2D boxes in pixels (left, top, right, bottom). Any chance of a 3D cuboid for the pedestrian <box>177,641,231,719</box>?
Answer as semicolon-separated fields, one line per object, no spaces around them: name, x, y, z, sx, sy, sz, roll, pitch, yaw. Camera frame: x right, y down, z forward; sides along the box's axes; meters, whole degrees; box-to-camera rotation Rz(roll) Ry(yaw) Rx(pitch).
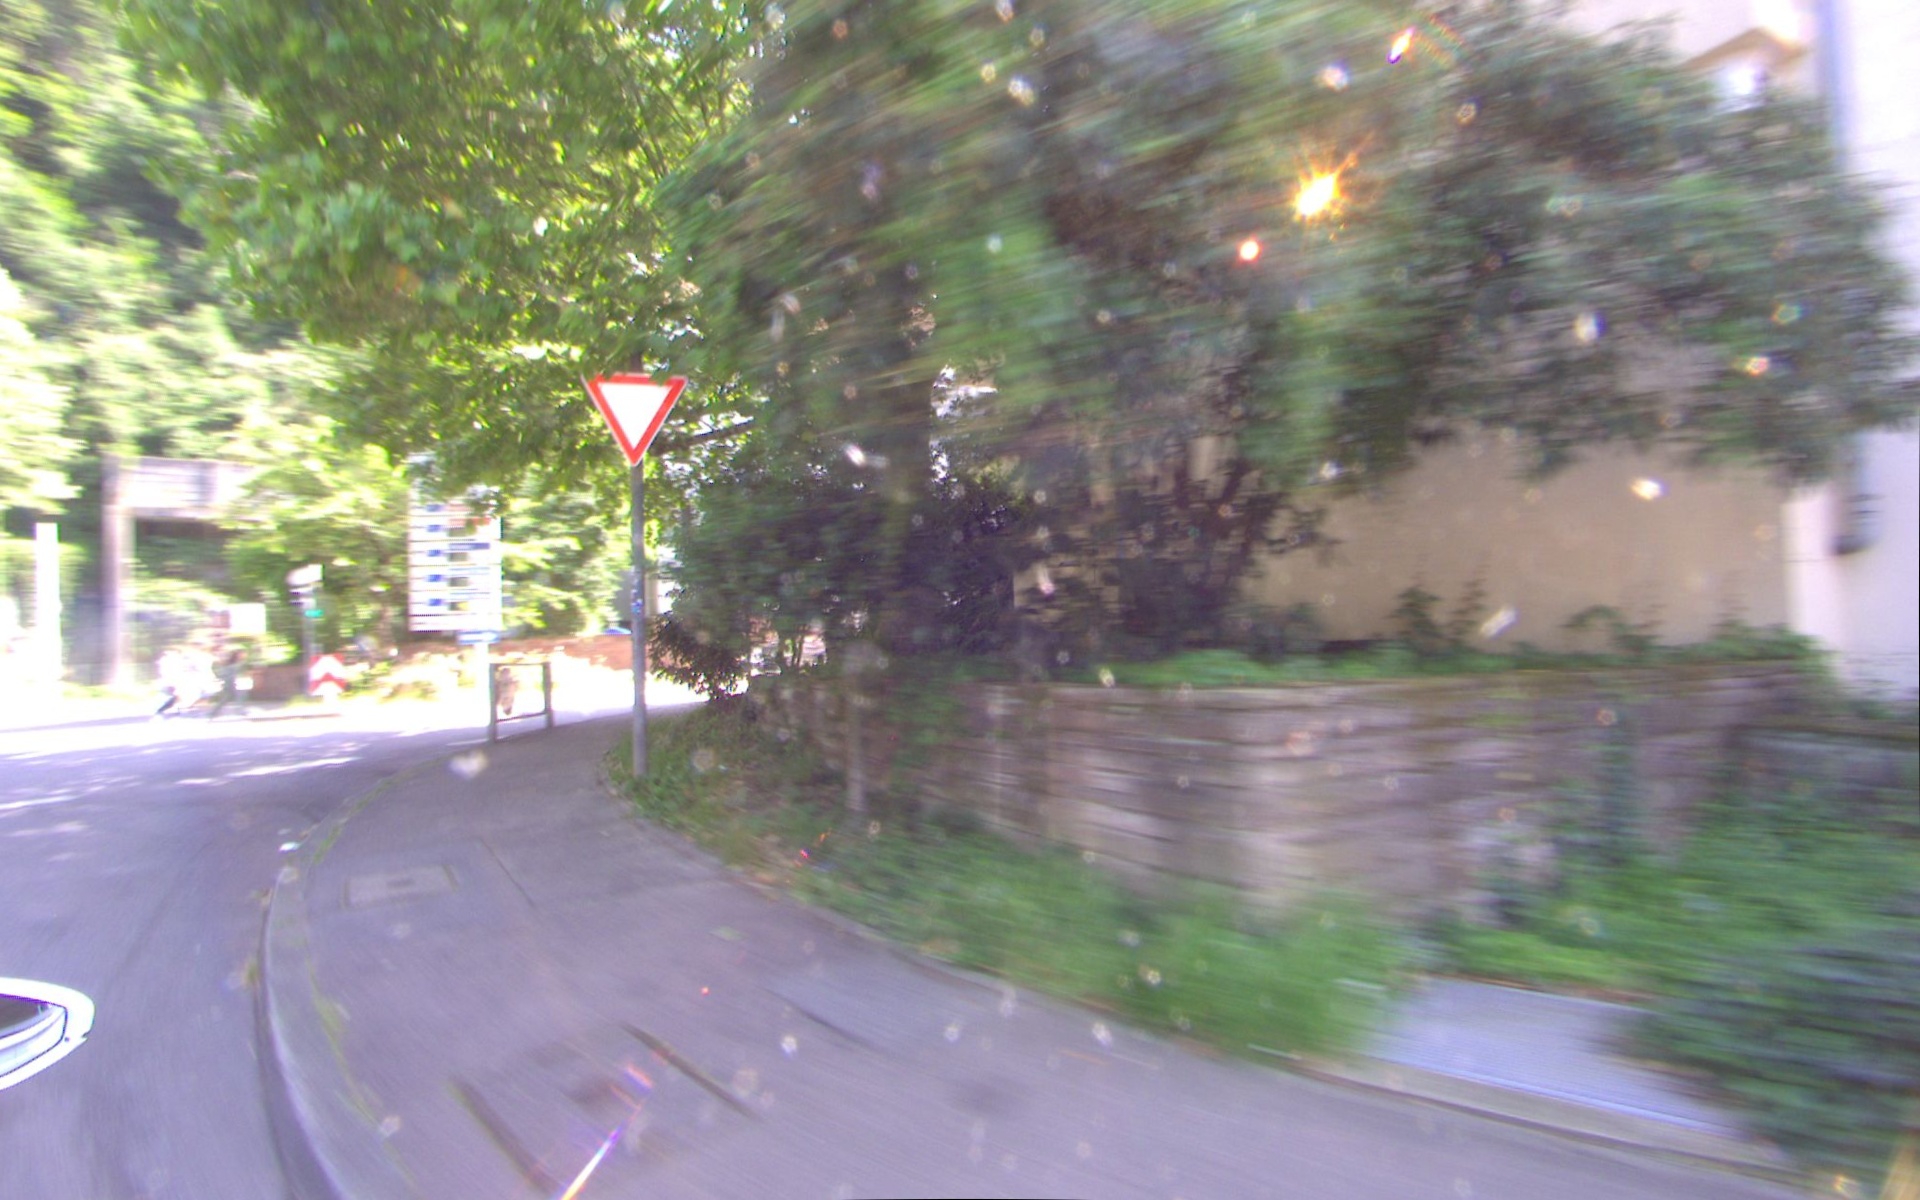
pedestrian;-17.596;1.866;23.330;0.749;1.777;0.764;0;-4;-19

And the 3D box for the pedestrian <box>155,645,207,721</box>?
pedestrian;-18.672;1.994;24.019;0.749;1.777;0.764;0;-4;-19

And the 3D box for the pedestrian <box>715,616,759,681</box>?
pedestrian;-6.704;1.456;30.190;1.053;1.918;0.959;0;-2;5

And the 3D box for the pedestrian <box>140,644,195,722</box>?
pedestrian;-18.411;1.919;23.278;0.749;1.777;0.764;0;-4;-19

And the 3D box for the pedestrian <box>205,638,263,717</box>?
pedestrian;-16.813;1.788;23.224;0.852;1.777;0.801;0;-4;-19

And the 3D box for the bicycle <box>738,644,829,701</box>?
bicycle;-6.256;2.576;35.488;2.960;1.908;1.164;2;-6;-33
